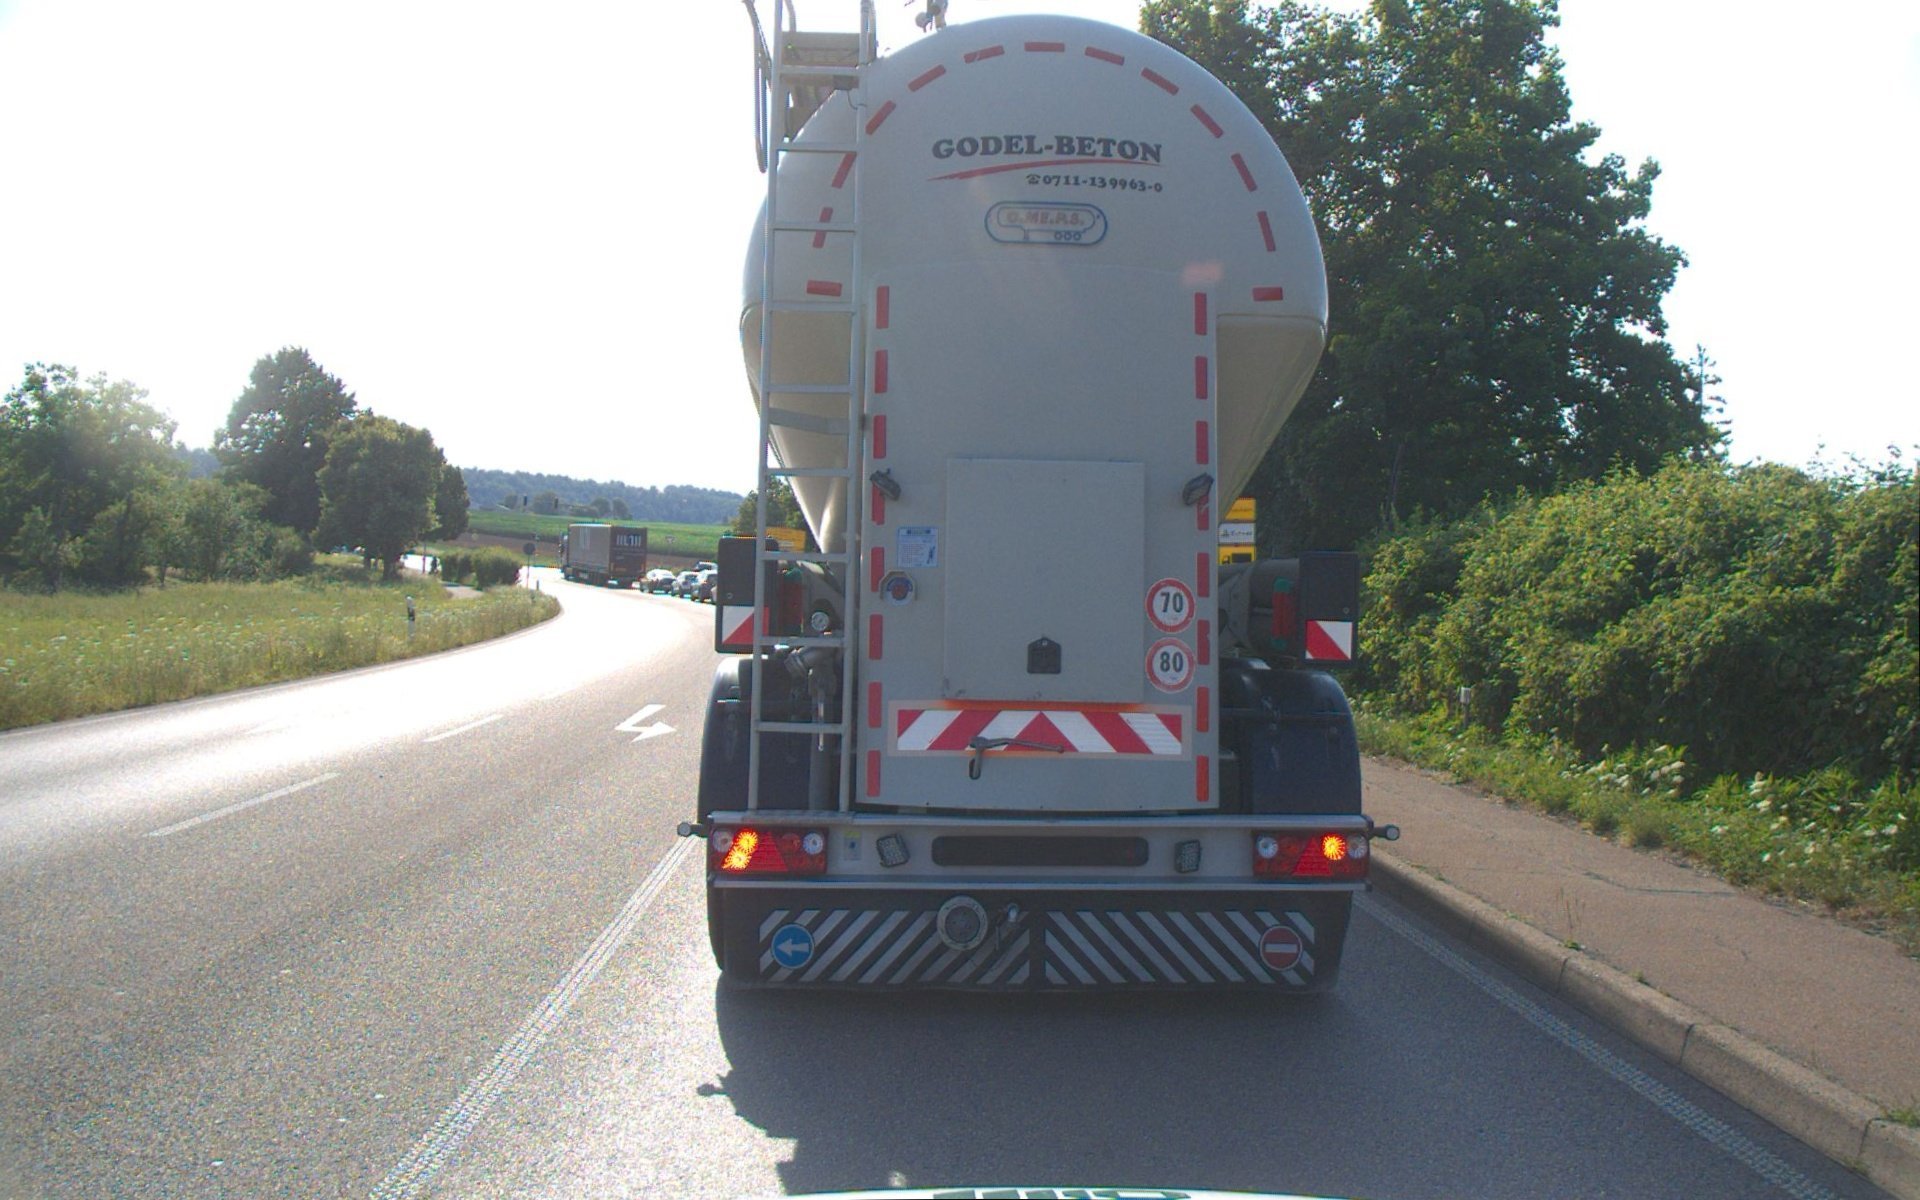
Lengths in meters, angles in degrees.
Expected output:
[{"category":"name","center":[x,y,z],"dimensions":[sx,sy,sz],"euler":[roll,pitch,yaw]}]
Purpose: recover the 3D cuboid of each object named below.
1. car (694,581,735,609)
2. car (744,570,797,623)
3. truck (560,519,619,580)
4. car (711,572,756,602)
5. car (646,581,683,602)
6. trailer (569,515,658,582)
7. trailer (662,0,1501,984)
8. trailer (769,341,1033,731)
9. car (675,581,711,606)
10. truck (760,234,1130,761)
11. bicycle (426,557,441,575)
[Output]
[{"category":"car","center":[-13.021,-0.295,87.508],"dimensions":[1.556,1.364,3.408],"euler":[2,0,-18]},{"category":"car","center":[-7.698,-0.151,67.042],"dimensions":[1.828,2.049,3.709],"euler":[1,0,-11]},{"category":"truck","center":[-28.447,-3.826,126.790],"dimensions":[3.331,4.426,5.664],"euler":[2,0,-24]},{"category":"car","center":[-11.158,-0.637,81.310],"dimensions":[1.556,1.364,3.408],"euler":[2,0,-18]},{"category":"car","center":[-18.195,-0.535,101.787],"dimensions":[1.742,1.227,3.408],"euler":[2,0,-18]},{"category":"trailer","center":[-25.123,-3.650,119.116],"dimensions":[3.331,4.426,14.190],"euler":[2,0,-23]},{"category":"trailer","center":[0.075,-0.756,10.609],"dimensions":[2.852,4.076,9.921],"euler":[1,0,-4]},{"category":"trailer","center":[-0.754,-0.790,26.191],"dimensions":[2.895,4.390,14.173],"euler":[2,0,-1]},{"category":"car","center":[-15.435,-0.401,95.545],"dimensions":[1.556,1.364,3.408],"euler":[2,0,-18]},{"category":"truck","center":[-0.271,-0.795,15.009],"dimensions":[2.853,4.076,4.055],"euler":[1,0,-5]},{"category":"bicycle","center":[-34.299,-2.223,107.672],"dimensions":[0.623,1.093,1.667],"euler":[3,0,-9]}]
